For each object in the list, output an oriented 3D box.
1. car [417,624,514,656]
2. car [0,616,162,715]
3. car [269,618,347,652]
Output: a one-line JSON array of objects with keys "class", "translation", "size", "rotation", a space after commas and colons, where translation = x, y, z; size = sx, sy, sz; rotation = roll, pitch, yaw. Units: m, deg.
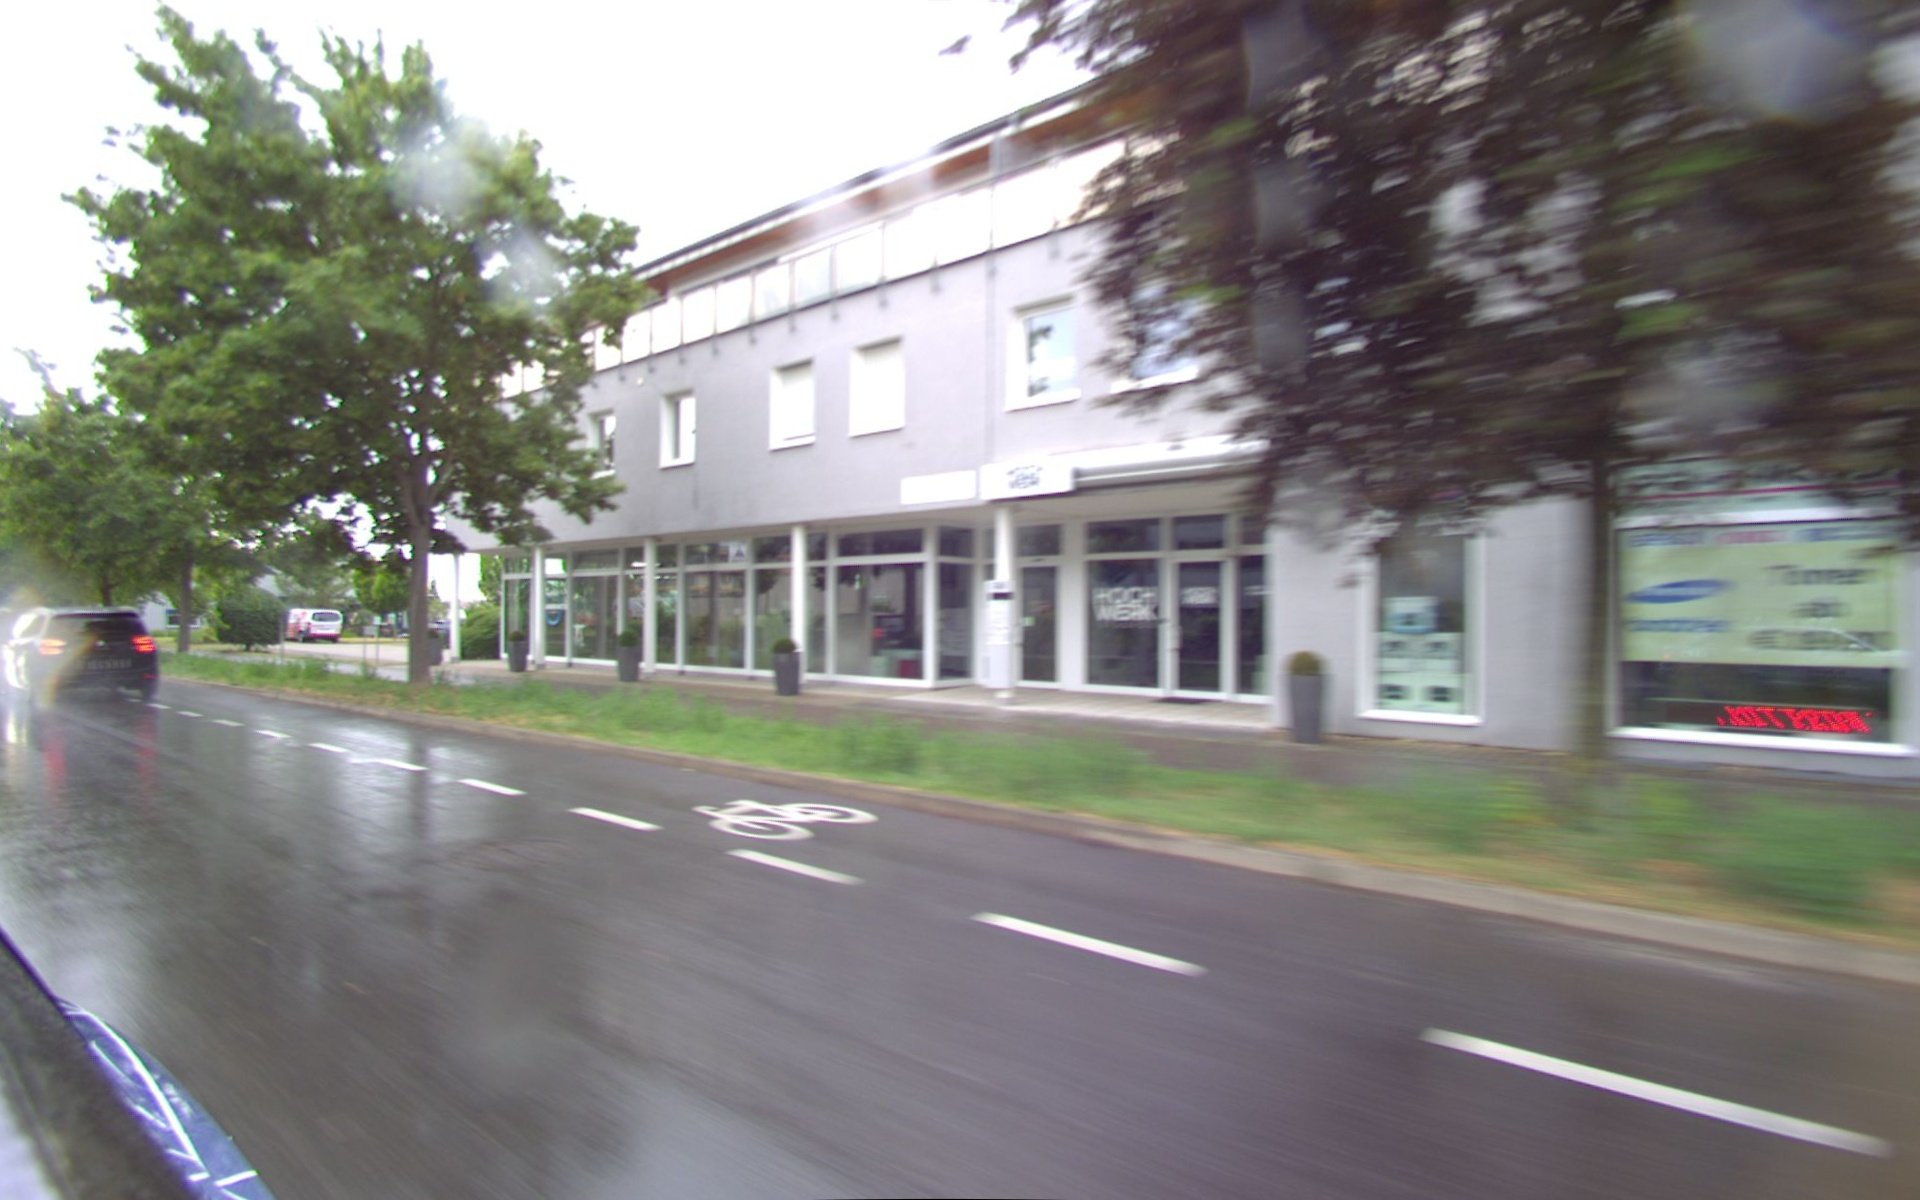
[{"class": "car", "translation": [-26.081, 2.070, 53.443], "size": [2.121, 1.568, 4.108], "rotation": [-1, 0, 43]}, {"class": "car", "translation": [-16.244, 1.140, 18.510], "size": [4.500, 1.566, 1.831], "rotation": [-3, -1, 41]}, {"class": "car", "translation": [-37.367, 2.035, 57.954], "size": [5.600, 1.836, 2.014], "rotation": [-2, -1, 38]}]
